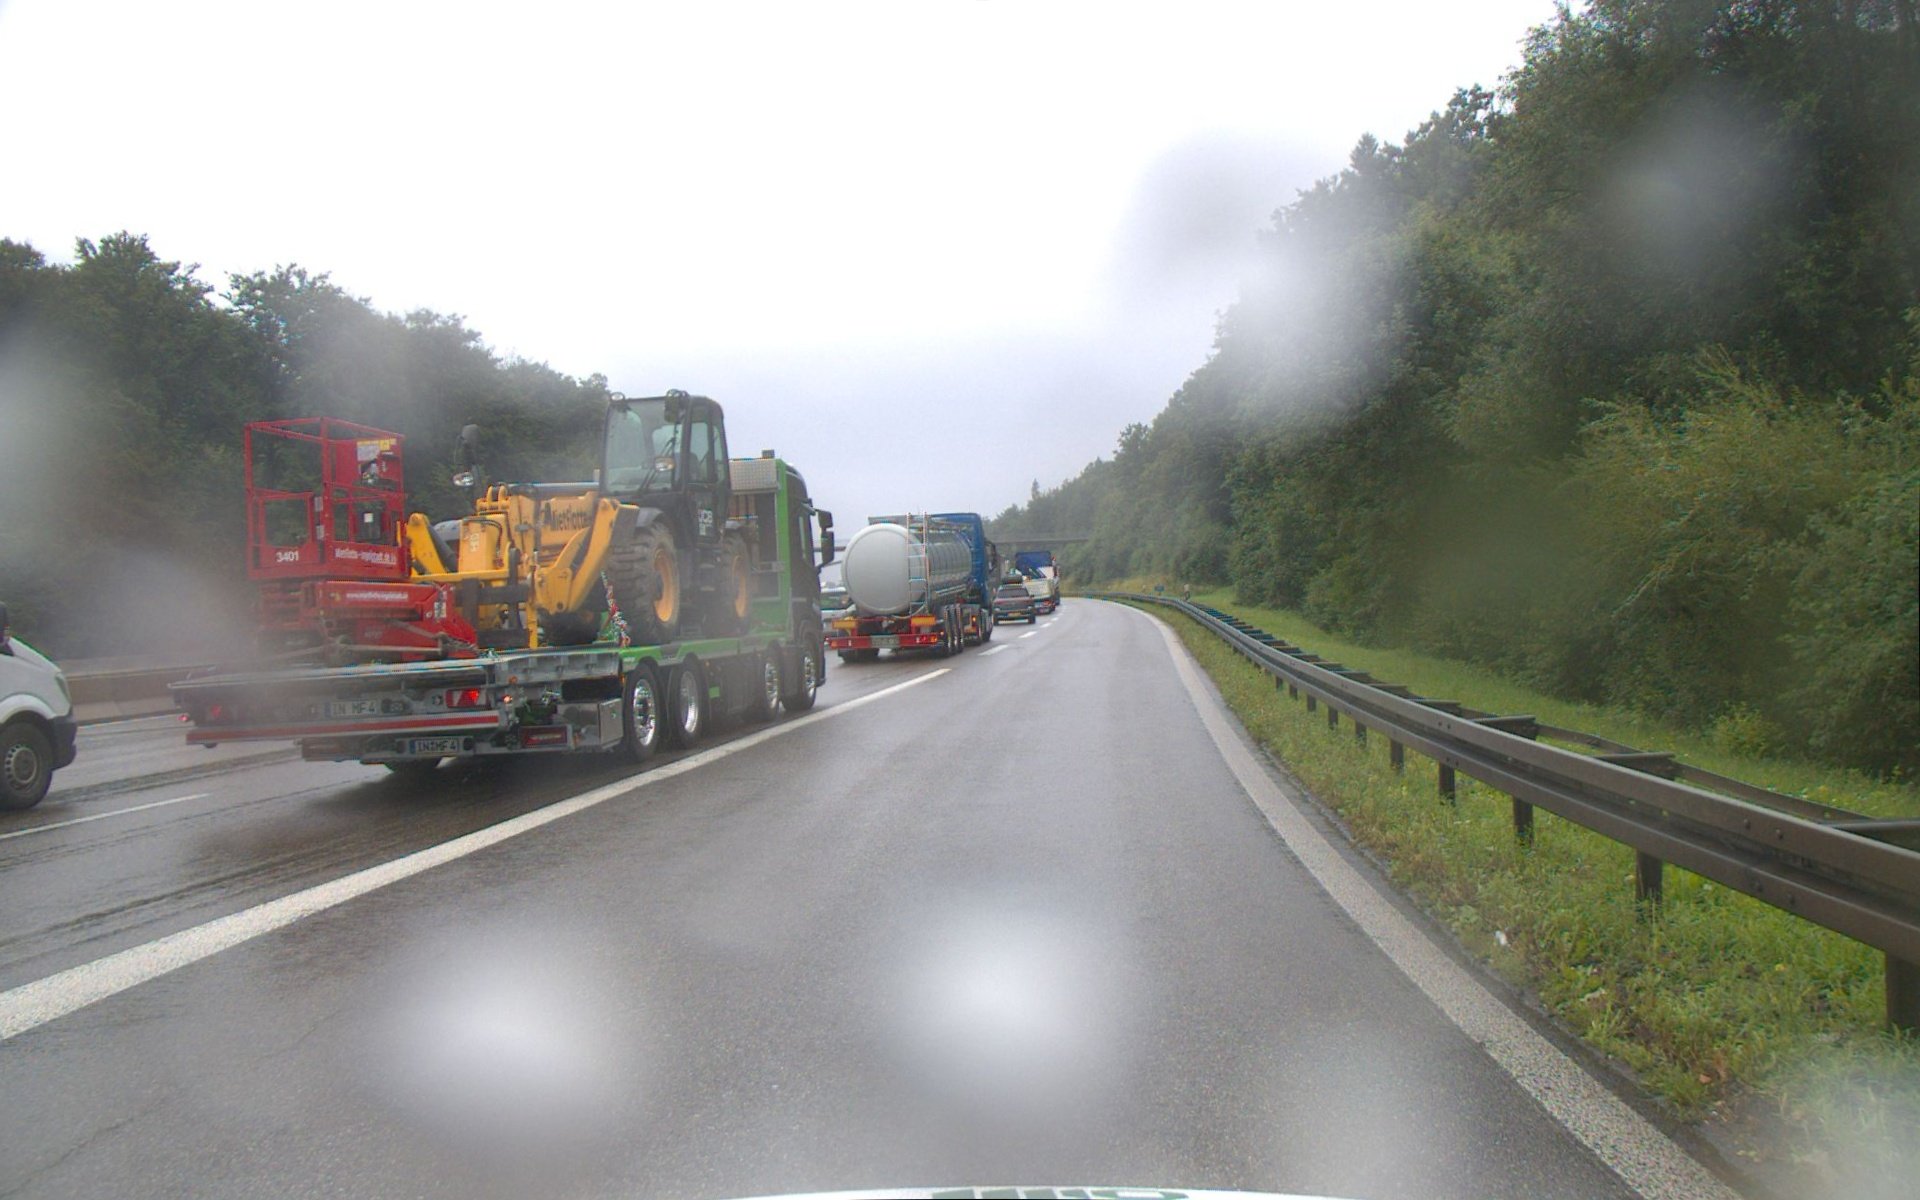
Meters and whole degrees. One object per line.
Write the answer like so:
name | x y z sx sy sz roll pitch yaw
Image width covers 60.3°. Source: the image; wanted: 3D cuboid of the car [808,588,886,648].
car | -3.584 0.543 52.982 1.781 1.798 4.003 -2 0 6

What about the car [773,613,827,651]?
car | -8.155 1.603 84.760 1.951 1.803 4.137 -2 0 5

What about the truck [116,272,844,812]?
truck | -3.846 -0.403 17.555 2.771 3.651 11.807 -3 0 7

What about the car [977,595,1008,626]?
car | 2.093 0.694 106.663 1.760 1.937 4.002 0 -1 4

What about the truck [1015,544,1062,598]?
truck | 6.602 -2.345 138.556 3.676 4.040 11.062 1 -1 3

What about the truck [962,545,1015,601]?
truck | 2.501 -2.159 139.483 3.501 4.167 10.885 -2 -1 5

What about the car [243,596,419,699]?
car | -13.358 0.989 35.372 1.759 2.049 4.003 1 -1 8

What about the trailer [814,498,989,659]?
trailer | -1.193 -0.510 40.790 2.813 3.346 10.085 -3 0 6

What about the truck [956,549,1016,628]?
truck | 2.057 -0.715 124.047 3.675 5.596 10.178 1 -1 5

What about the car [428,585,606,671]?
car | -9.416 0.540 35.583 1.951 1.621 4.812 -3 0 7

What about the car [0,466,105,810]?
car | -8.807 0.337 11.310 2.168 2.675 5.848 -3 0 8

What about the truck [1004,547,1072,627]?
truck | 4.642 -0.766 96.321 3.525 4.176 11.565 -3 0 3

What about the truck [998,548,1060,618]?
truck | 4.769 -1.064 112.270 3.433 4.343 10.609 1 -1 6

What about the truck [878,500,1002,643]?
truck | -0.497 -0.797 47.641 2.816 3.758 5.060 -3 0 6

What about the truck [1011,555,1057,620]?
truck | 7.173 -1.120 159.725 4.245 5.865 9.733 1 -1 3

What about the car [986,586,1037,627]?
car | 2.258 0.298 71.240 1.951 1.665 4.002 1 -1 5

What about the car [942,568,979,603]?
car | 0.041 -0.826 95.214 1.759 1.870 4.002 1 -1 5
